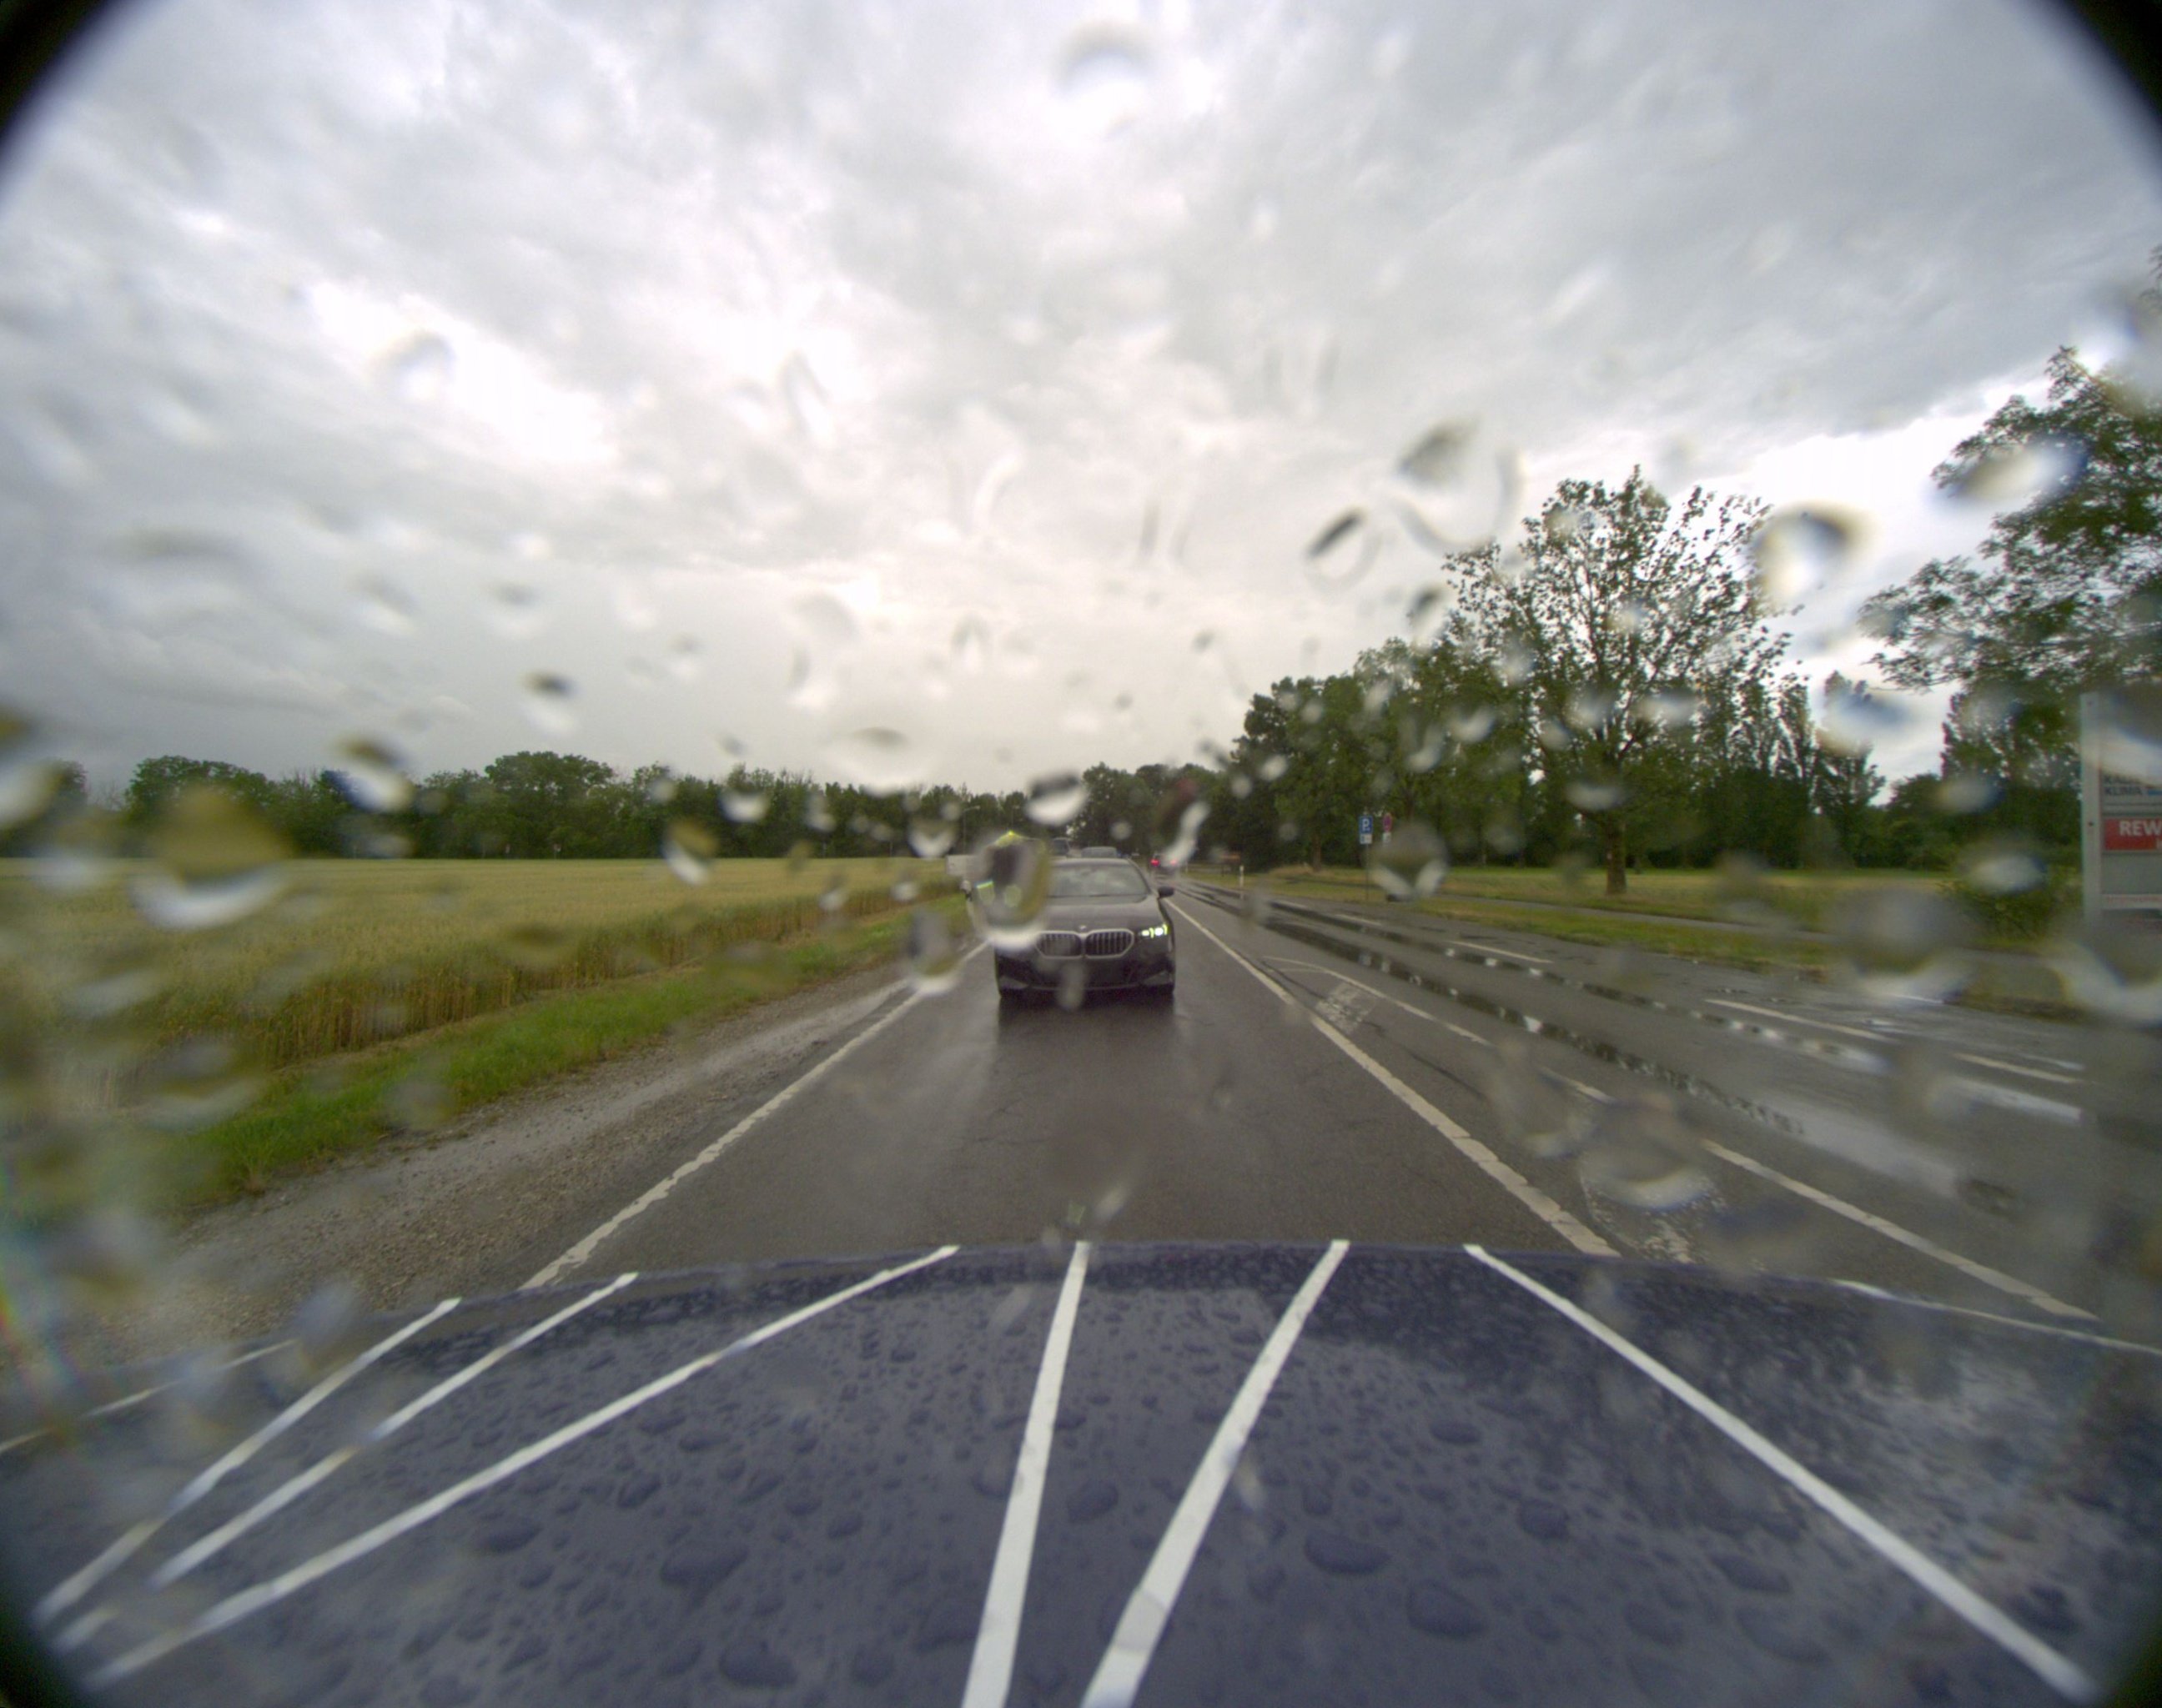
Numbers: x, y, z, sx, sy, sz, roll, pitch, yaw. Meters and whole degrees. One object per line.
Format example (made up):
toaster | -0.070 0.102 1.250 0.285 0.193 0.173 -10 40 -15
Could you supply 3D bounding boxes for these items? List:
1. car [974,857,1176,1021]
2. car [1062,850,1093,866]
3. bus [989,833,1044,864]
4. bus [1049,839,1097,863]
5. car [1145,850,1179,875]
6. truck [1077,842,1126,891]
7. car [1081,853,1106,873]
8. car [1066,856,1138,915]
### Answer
car | 0.008 0.825 9.238 1.891 1.484 4.036 -1 0 2
car | -0.408 0.396 77.624 1.894 1.522 4.495 -1 0 -18
bus | -7.994 -0.679 97.307 2.993 3.665 14.307 1 1 12
bus | -0.991 -0.450 114.670 2.851 3.417 14.313 1 1 17
car | 5.531 0.556 52.029 1.921 1.622 4.357 -1 1 1
truck | 0.880 0.529 35.983 2.076 2.050 5.769 -2 0 -1
car | 1.032 0.717 64.280 1.892 1.522 4.501 -1 0 -2
car | 0.621 0.854 22.503 1.891 1.482 4.192 -2 1 2
